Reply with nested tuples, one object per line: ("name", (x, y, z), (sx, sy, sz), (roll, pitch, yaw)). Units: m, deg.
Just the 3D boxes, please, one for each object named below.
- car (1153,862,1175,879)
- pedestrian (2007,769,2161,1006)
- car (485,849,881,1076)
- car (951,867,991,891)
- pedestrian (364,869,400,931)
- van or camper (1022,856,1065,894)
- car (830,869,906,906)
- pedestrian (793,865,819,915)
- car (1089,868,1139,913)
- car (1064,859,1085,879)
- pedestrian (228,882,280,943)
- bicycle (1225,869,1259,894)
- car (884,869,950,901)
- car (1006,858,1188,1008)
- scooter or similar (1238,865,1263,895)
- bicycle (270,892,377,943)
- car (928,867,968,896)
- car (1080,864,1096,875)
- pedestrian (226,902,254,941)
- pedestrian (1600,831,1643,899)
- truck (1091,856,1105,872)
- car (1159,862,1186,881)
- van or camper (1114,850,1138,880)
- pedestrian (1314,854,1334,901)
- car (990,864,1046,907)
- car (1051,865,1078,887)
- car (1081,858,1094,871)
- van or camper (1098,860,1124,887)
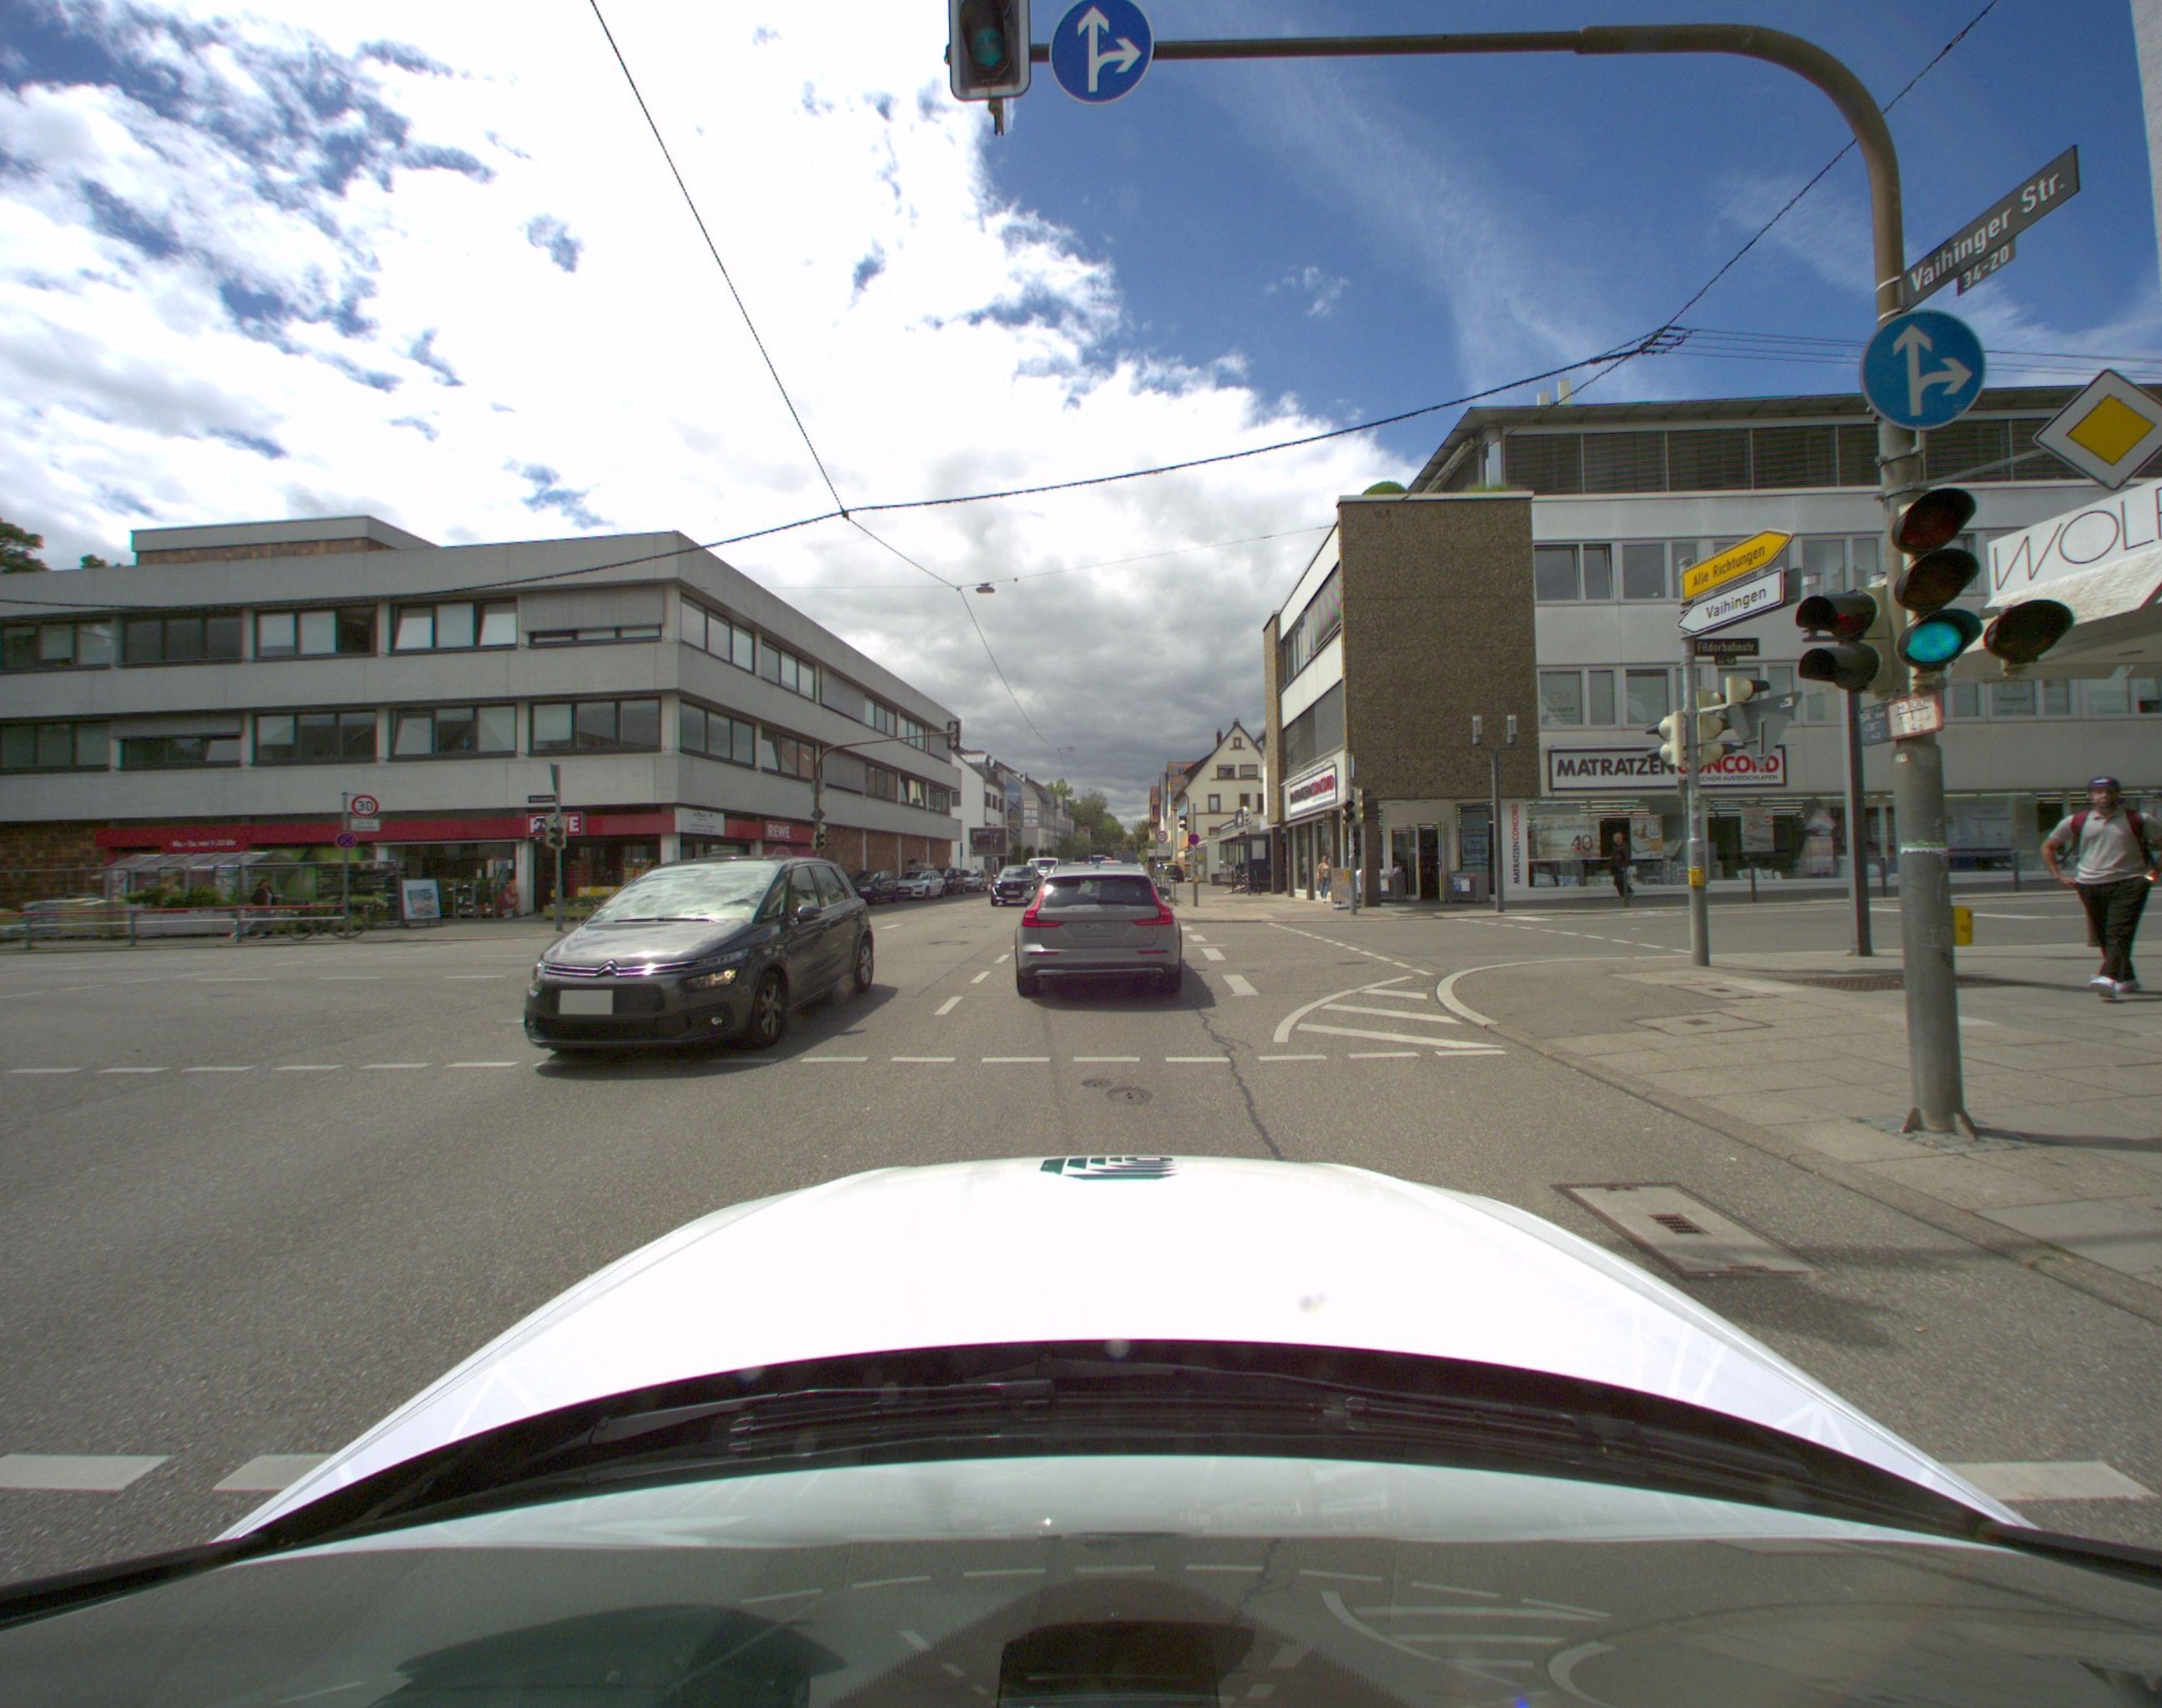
("car", (7.831, 1.588, 76.786), (1.875, 1.500, 3.974), (0, -2, 3))
("pedestrian", (8.358, 0.258, 6.703), (0.615, 1.814, 0.769), (-5, 0, -30))
("car", (-3.398, 0.784, 7.973), (1.783, 1.589, 4.100), (-2, 0, 0))
("car", (-7.057, 1.577, 52.481), (1.747, 1.426, 3.867), (-2, -1, 5))
("pedestrian", (-20.618, 1.352, 24.035), (0.623, 1.776, 0.551), (1, -3, -23))
("van or camper", (-1.937, 1.063, 43.476), (1.857, 1.898, 4.694), (-1, 0, 2))
("car", (-9.034, 1.385, 34.878), (1.776, 1.464, 4.093), (0, -1, 6))
("pedestrian", (-9.291, 1.197, 27.530), (0.616, 1.641, 0.661), (-2, -1, 3))
("car", (1.148, 1.240, 28.717), (1.644, 1.482, 3.608), (0, -1, 2))
("car", (-0.592, 1.501, 79.593), (1.831, 1.917, 4.157), (0, -1, 2))
("pedestrian", (-22.033, 1.542, 21.724), (0.726, 1.597, 0.691), (1, -3, -25))
("bicycle", (7.562, 1.289, 38.350), (0.555, 1.144, 2.287), (-2, -1, -16))
("car", (-8.023, 1.497, 40.248), (1.894, 1.443, 4.450), (0, -1, 6))
("car", (0.218, 0.811, 10.273), (1.829, 1.486, 4.001), (-1, 0, 2))
("scooter or similar", (7.364, 1.140, 35.487), (0.342, 1.253, 1.236), (-3, -2, -24))
("bicycle", (-19.428, 1.610, 20.923), (1.881, 1.142, 0.774), (-3, -1, -8))
("car", (-7.492, 1.534, 46.138), (1.601, 1.543, 2.946), (1, -1, 3))
("car", (0.950, 2.070, 112.569), (1.753, 1.426, 4.008), (-2, -1, 7))
("pedestrian", (-21.855, 1.744, 21.174), (0.364, 1.005, 0.382), (1, -3, -24))
("pedestrian", (13.845, 0.283, 20.865), (0.582, 1.705, 0.614), (-3, -1, -30))
("truck", (3.313, 1.942, 155.103), (2.266, 2.886, 7.084), (-2, -1, 3))
("car", (7.110, 1.395, 63.490), (1.705, 1.464, 3.999), (0, -2, 0))
("van or camper", (4.139, 1.019, 75.264), (2.114, 2.686, 4.784), (-2, -1, 3))
("pedestrian", (7.845, 0.765, 26.272), (0.500, 1.459, 0.502), (-4, -2, 15))
("car", (-2.365, 1.165, 31.674), (1.676, 1.497, 3.969), (-2, -1, 2))
("car", (-1.215, 1.586, 60.683), (1.661, 1.554, 4.218), (-1, -1, 3))
("car", (1.077, 1.634, 125.125), (1.790, 1.816, 4.002), (0, -2, 3))
("van or camper", (2.172, 1.448, 59.955), (1.812, 1.835, 4.000), (-1, -3, 2))
